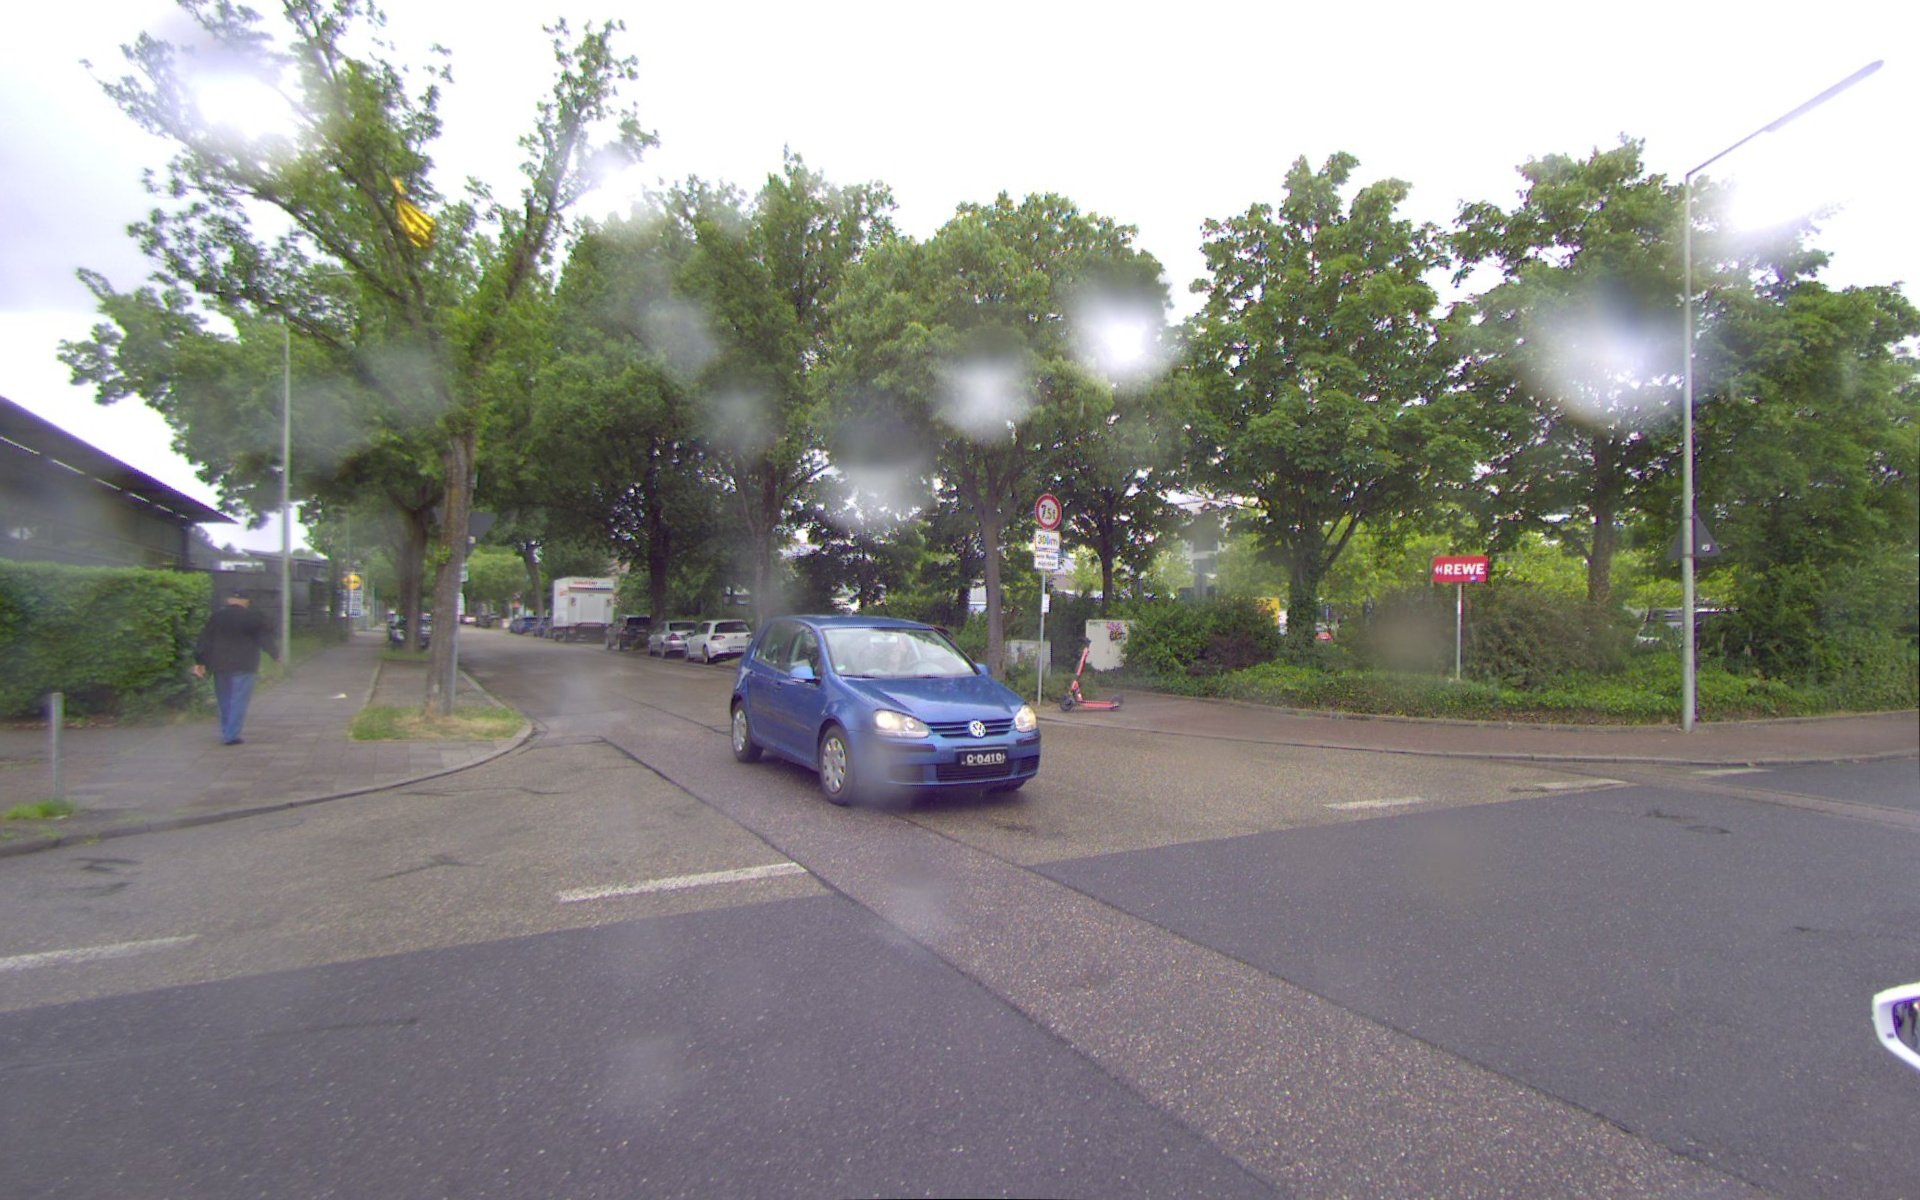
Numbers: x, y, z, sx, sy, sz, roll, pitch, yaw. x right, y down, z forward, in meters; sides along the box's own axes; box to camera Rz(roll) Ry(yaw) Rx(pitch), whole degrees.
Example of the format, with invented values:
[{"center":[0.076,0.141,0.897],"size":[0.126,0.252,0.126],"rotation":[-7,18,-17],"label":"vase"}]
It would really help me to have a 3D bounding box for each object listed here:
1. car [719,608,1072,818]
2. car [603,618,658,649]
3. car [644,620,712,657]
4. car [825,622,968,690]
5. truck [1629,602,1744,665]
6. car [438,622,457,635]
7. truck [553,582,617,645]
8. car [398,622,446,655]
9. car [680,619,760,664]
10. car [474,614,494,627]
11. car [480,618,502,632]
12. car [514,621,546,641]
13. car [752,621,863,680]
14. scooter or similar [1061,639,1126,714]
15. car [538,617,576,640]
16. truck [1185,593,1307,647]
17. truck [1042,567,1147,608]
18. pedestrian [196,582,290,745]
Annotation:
[{"center":[-0.820,0.855,9.190],"size":[1.715,1.460,3.970],"rotation":[1,-2,-29],"label":"car"},{"center":[-15.472,1.569,47.040],"size":[1.715,1.401,4.066],"rotation":[1,-2,-29],"label":"car"},{"center":[-11.099,1.494,39.402],"size":[1.715,1.401,4.066],"rotation":[1,-2,-29],"label":"car"},{"center":[-1.518,1.207,22.529],"size":[1.715,1.381,3.970],"rotation":[1,-2,-29],"label":"car"},{"center":[34.406,1.601,47.508],"size":[6.391,2.789,1.984],"rotation":[2,-1,-30],"label":"truck"},{"center":[-64.673,3.545,126.766],"size":[1.904,1.593,3.967],"rotation":[2,-2,-31],"label":"car"},{"center":[-22.488,0.834,60.057],"size":[2.572,3.515,6.762],"rotation":[1,-2,-29],"label":"truck"},{"center":[-21.293,1.505,39.855],"size":[1.550,1.218,3.973],"rotation":[2,-2,-27],"label":"car"},{"center":[-8.309,1.407,34.589],"size":[1.715,1.460,3.970],"rotation":[1,-2,-29],"label":"car"},{"center":[-60.703,2.591,128.091],"size":[1.904,1.593,3.967],"rotation":[2,-2,-31],"label":"car"},{"center":[-53.638,2.826,114.867],"size":[1.904,1.593,3.967],"rotation":[2,-2,-31],"label":"car"},{"center":[-35.456,2.538,82.724],"size":[1.904,1.593,3.967],"rotation":[2,-2,-31],"label":"car"},{"center":[-4.208,1.322,27.197],"size":[1.715,1.460,3.970],"rotation":[1,-2,-29],"label":"car"},{"center":[2.194,1.242,16.449],"size":[1.044,1.191,0.283],"rotation":[1,-1,-22],"label":"scooter or similar"},{"center":[-28.452,2.007,70.880],"size":[1.904,1.593,3.967],"rotation":[2,-2,-31],"label":"car"},{"center":[14.517,1.046,50.860],"size":[6.315,2.636,1.986],"rotation":[1,-1,-28],"label":"truck"},{"center":[7.689,-0.651,57.082],"size":[6.064,2.087,1.983],"rotation":[2,-1,-31],"label":"truck"},{"center":[-7.837,0.679,11.017],"size":[0.750,1.696,0.776],"rotation":[1,-1,-31],"label":"pedestrian"}]
